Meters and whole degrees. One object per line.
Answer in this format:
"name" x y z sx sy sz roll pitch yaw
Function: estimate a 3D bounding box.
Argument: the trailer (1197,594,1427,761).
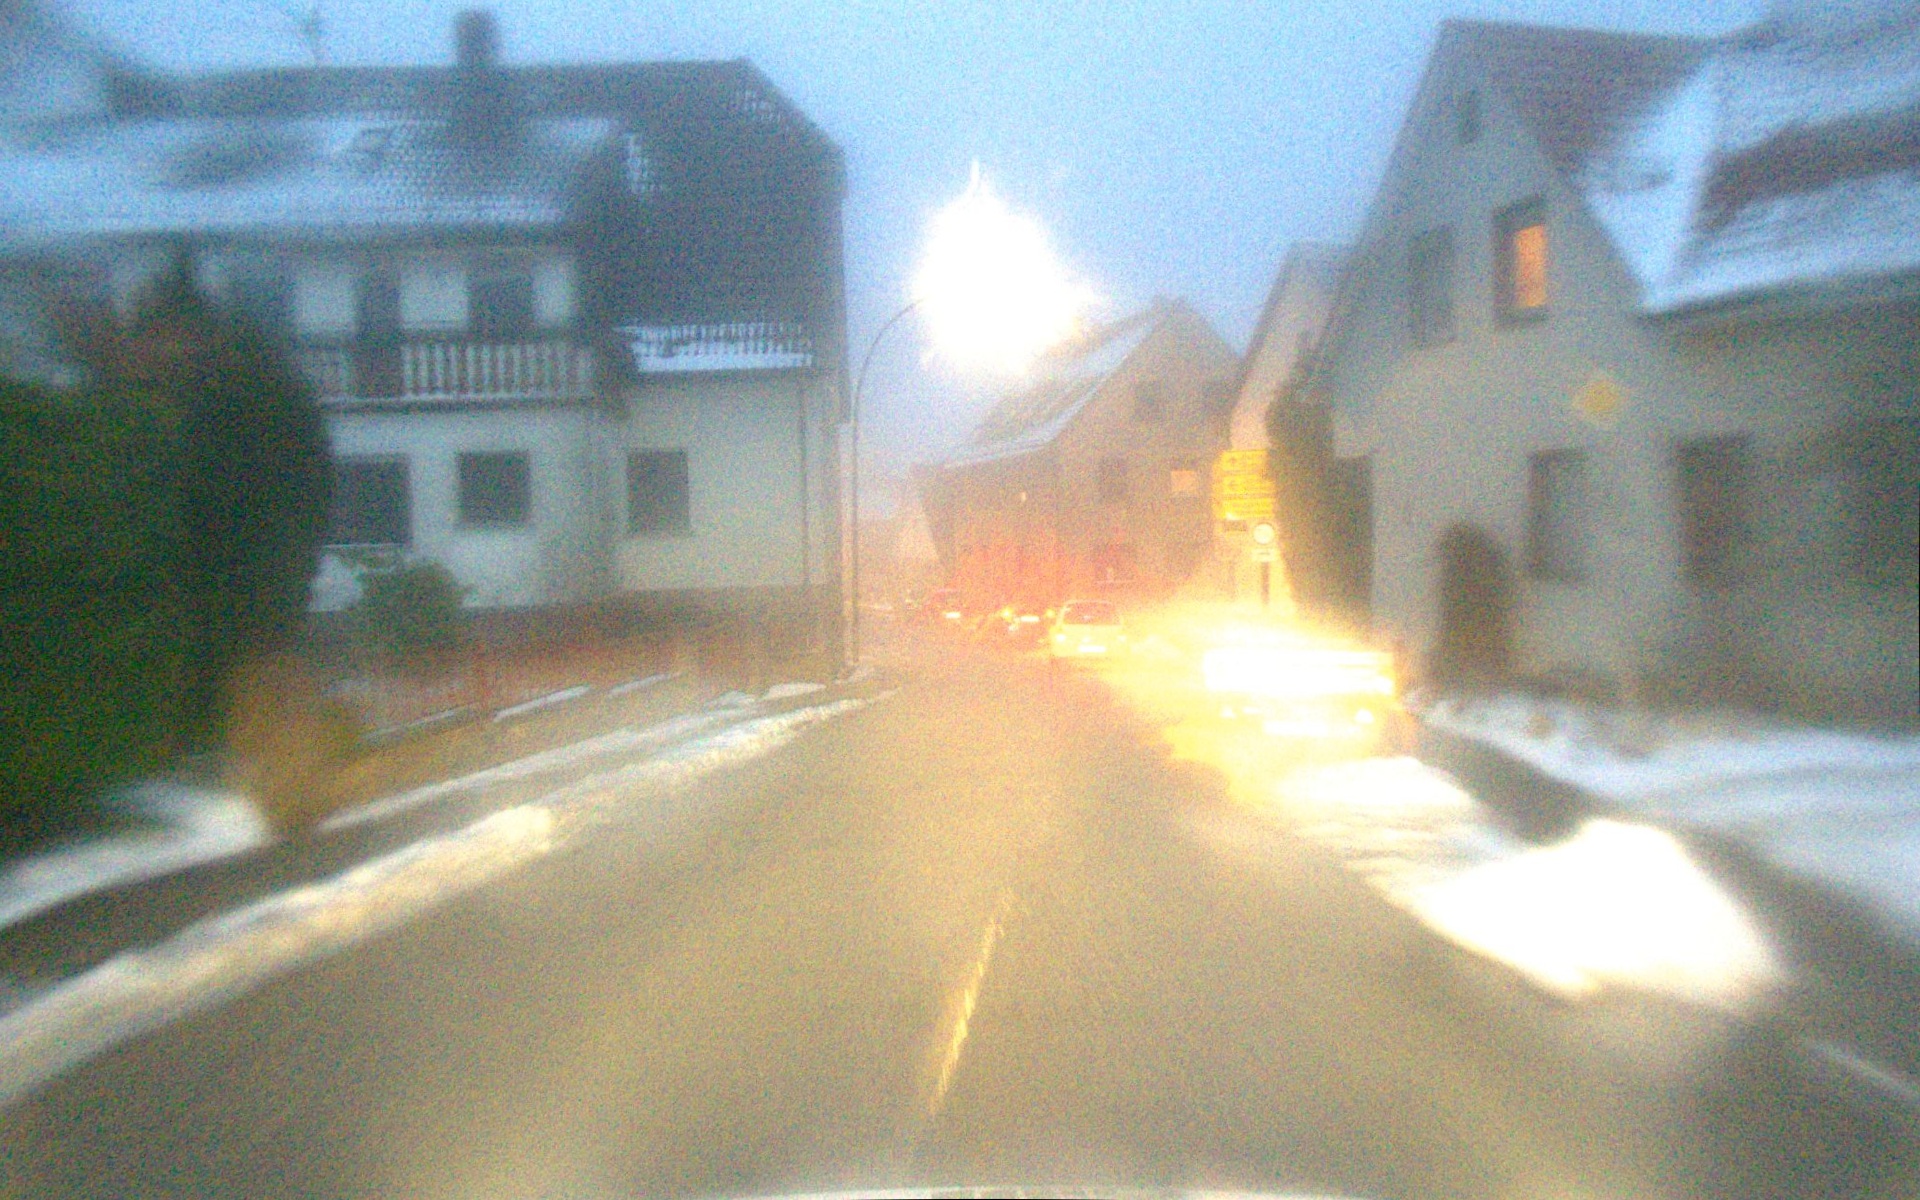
"trailer" 3.441 0.653 16.681 1.951 1.412 4.735 0 0 10

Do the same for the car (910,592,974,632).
"car" -0.771 0.444 67.211 1.876 1.506 4.272 -2 1 -10

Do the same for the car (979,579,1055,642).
"car" 1.628 0.331 48.274 1.953 1.758 3.998 0 -1 -2

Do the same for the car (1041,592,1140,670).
"car" 2.703 0.651 34.836 1.952 1.534 4.001 0 -1 3
